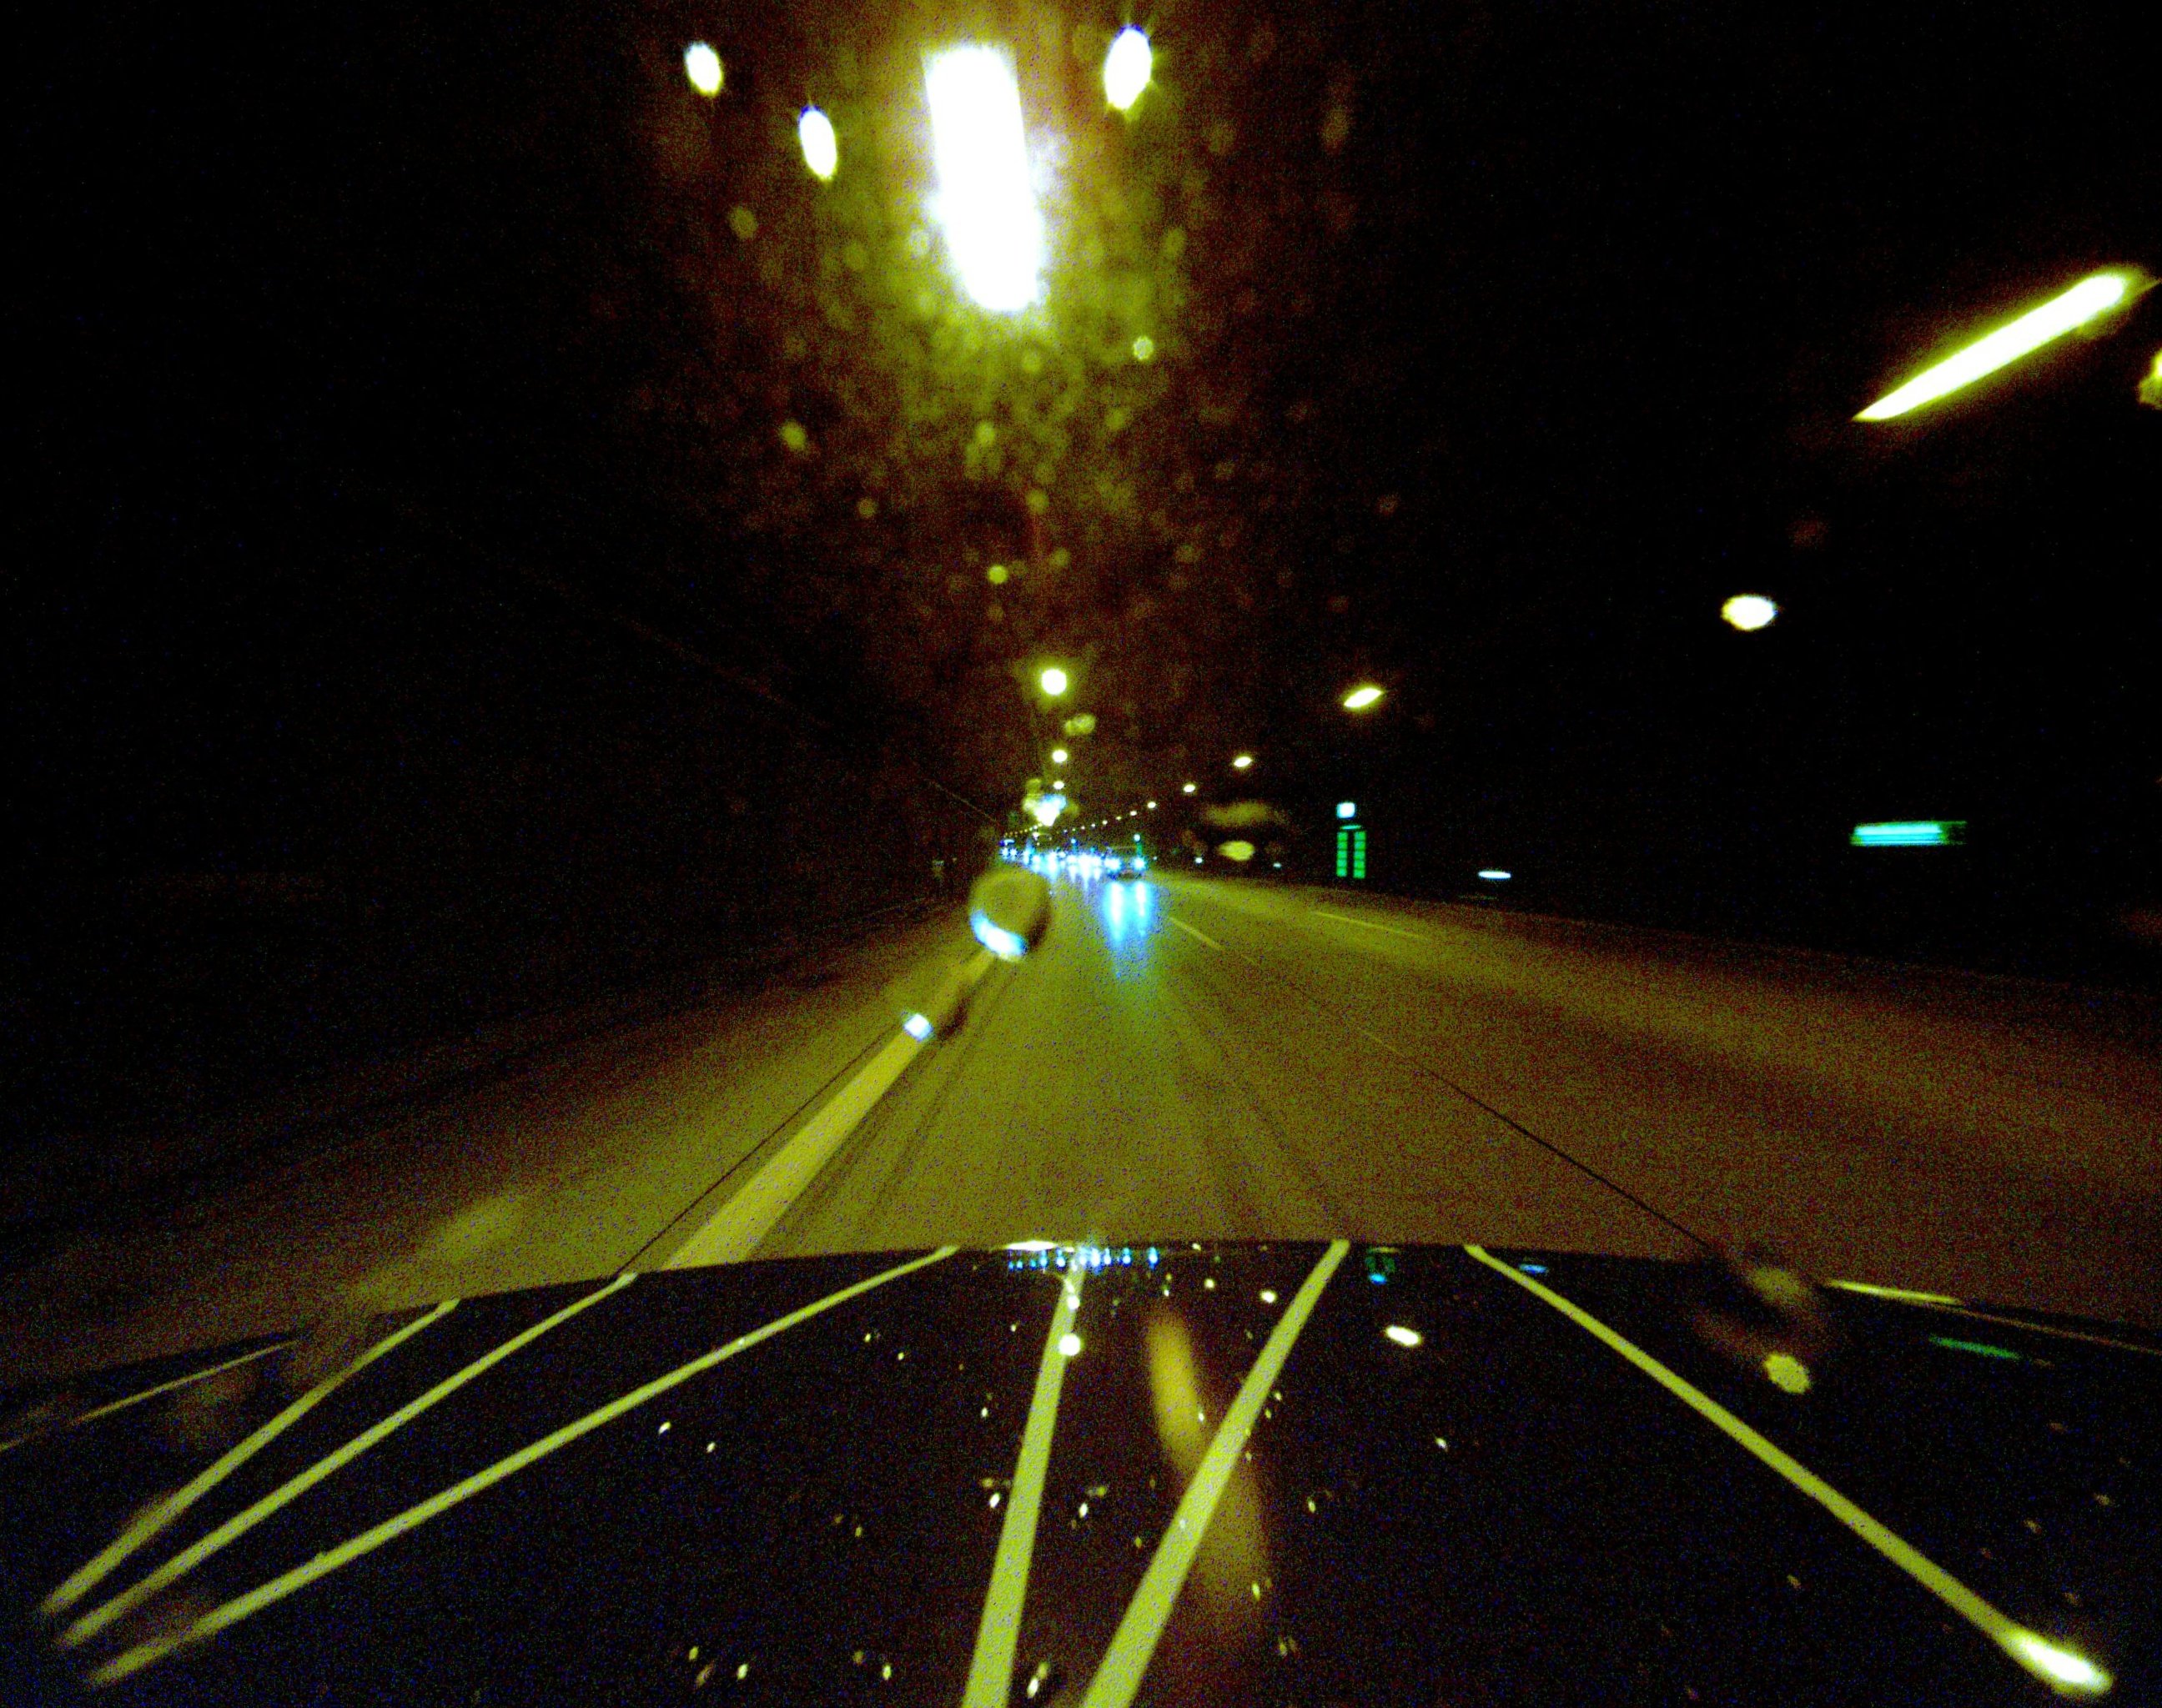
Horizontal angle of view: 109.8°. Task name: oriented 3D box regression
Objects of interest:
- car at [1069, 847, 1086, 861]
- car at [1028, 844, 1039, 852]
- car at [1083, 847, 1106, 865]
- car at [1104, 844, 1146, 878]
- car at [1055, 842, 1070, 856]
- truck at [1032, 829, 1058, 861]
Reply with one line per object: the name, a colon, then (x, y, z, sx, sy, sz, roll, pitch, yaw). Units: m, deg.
car: (-0.454, 0.027, 91.891, 1.759, 1.566, 3.998, -1, 0, -4)
car: (-10.335, -1.376, 164.785, 2.000, 1.729, 3.997, -2, 1, -7)
car: (1.292, 0.203, 73.727, 1.910, 1.637, 3.999, -1, 0, -2)
car: (2.725, 0.447, 47.640, 1.999, 2.001, 4.359, -2, 0, -4)
car: (-3.017, -0.801, 122.403, 1.999, 2.003, 3.996, -2, 3, -6)
truck: (-4.938, -1.287, 103.693, 3.143, 4.137, 7.382, -2, 2, -4)
